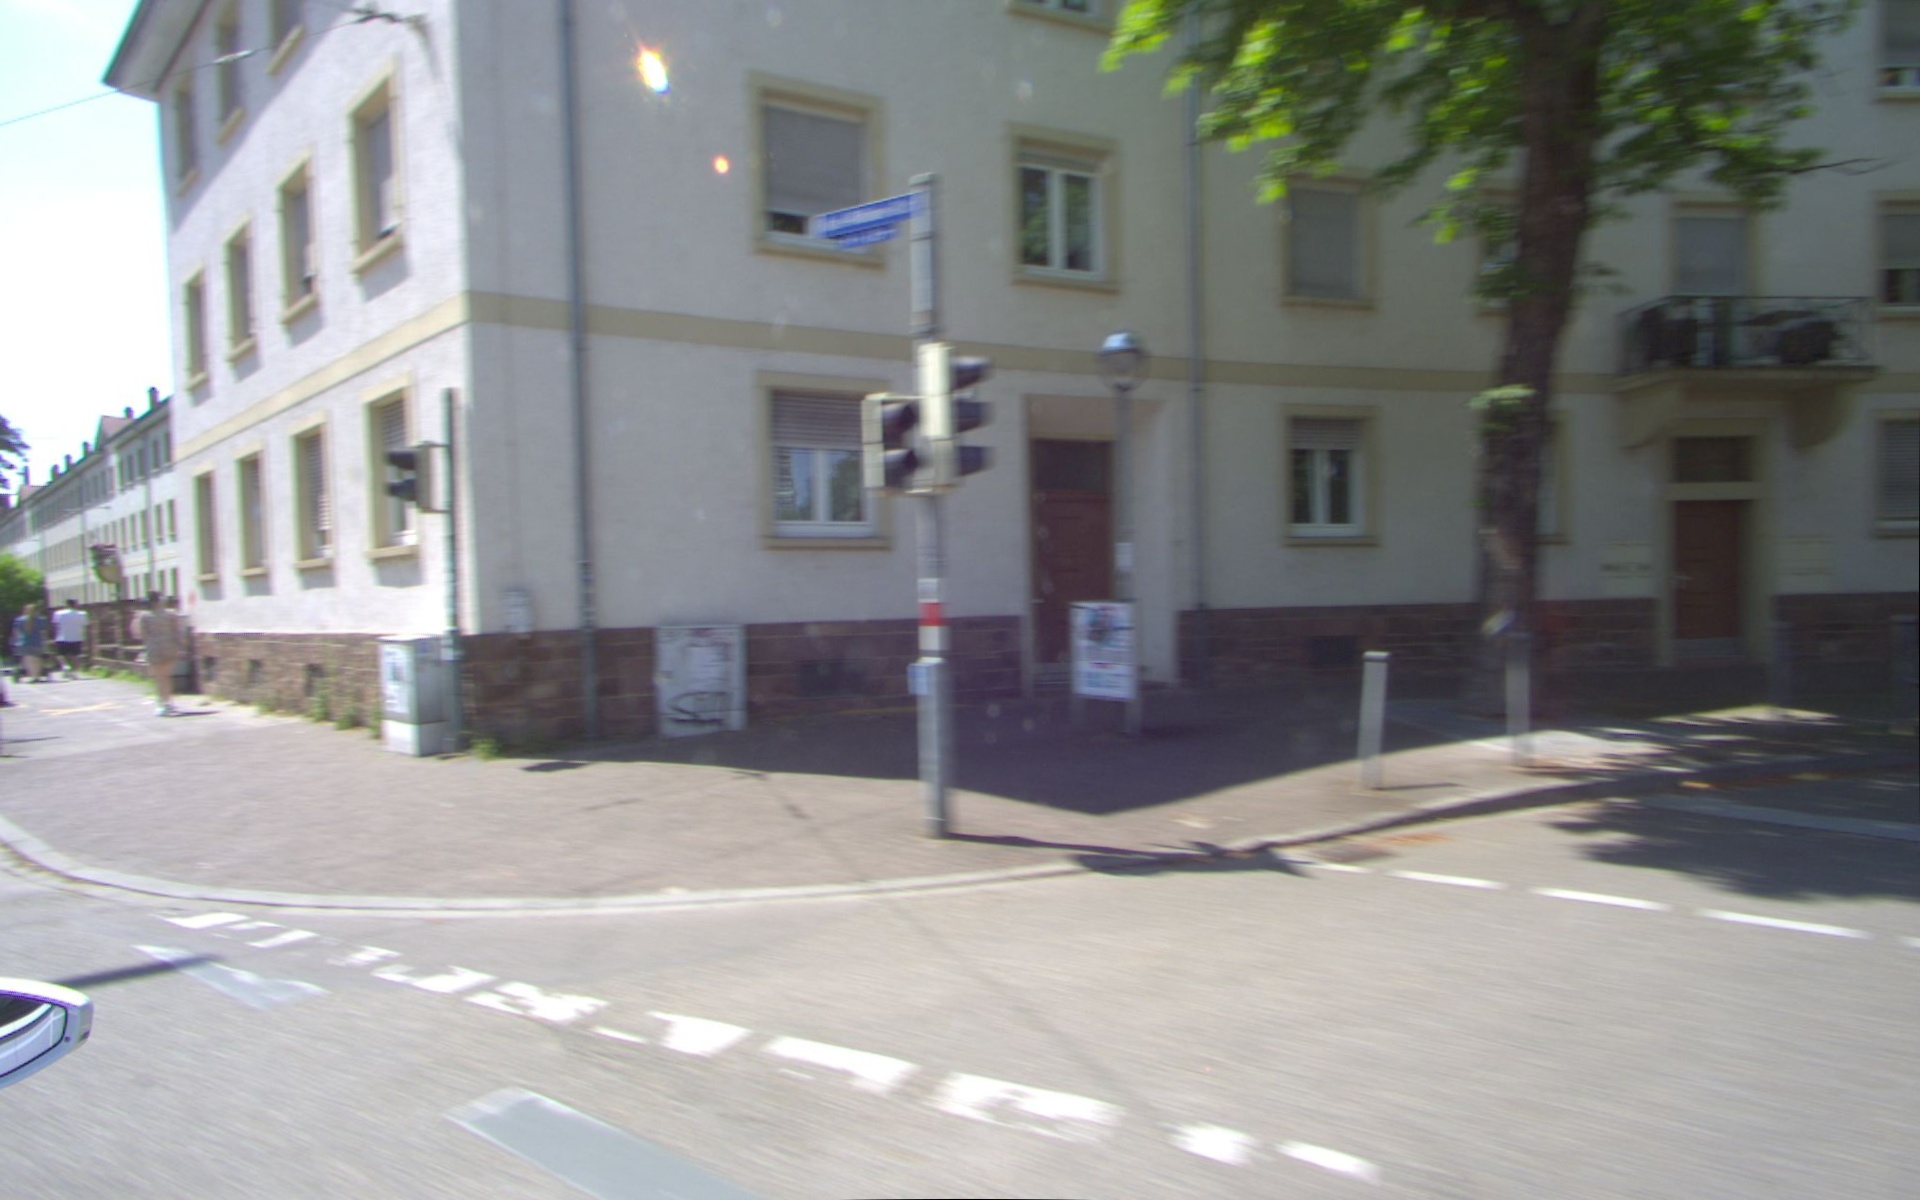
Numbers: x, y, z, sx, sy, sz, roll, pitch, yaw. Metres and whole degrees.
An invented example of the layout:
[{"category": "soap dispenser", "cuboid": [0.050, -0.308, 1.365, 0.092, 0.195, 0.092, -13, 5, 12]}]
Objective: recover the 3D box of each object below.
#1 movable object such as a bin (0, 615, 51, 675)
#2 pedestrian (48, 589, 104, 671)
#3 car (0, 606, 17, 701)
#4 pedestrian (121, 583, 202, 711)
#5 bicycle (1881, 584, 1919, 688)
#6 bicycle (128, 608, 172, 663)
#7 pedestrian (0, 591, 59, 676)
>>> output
[{"category": "movable object such as a bin", "cuboid": [-20.052, 0.941, 21.433, 1.024, 1.202, 0.693, 0, 4, 41]}, {"category": "pedestrian", "cuboid": [-19.138, 0.634, 21.674, 0.747, 1.693, 0.693, 0, 5, 41]}, {"category": "car", "cuboid": [-16.662, 0.918, 16.013, 4.108, 1.430, 1.767, -1, 5, 41]}, {"category": "pedestrian", "cuboid": [-10.970, 0.623, 13.756, 0.747, 1.692, 0.694, 0, 2, 40]}, {"category": "bicycle", "cuboid": [11.746, 0.396, 11.428, 1.769, 1.171, 0.640, -1, 1, 7]}, {"category": "bicycle", "cuboid": [-18.526, 0.786, 22.884, 0.593, 1.191, 1.736, -3, 2, -44]}, {"category": "pedestrian", "cuboid": [-19.348, 0.687, 20.804, 0.859, 1.693, 0.693, 0, 5, 41]}]
